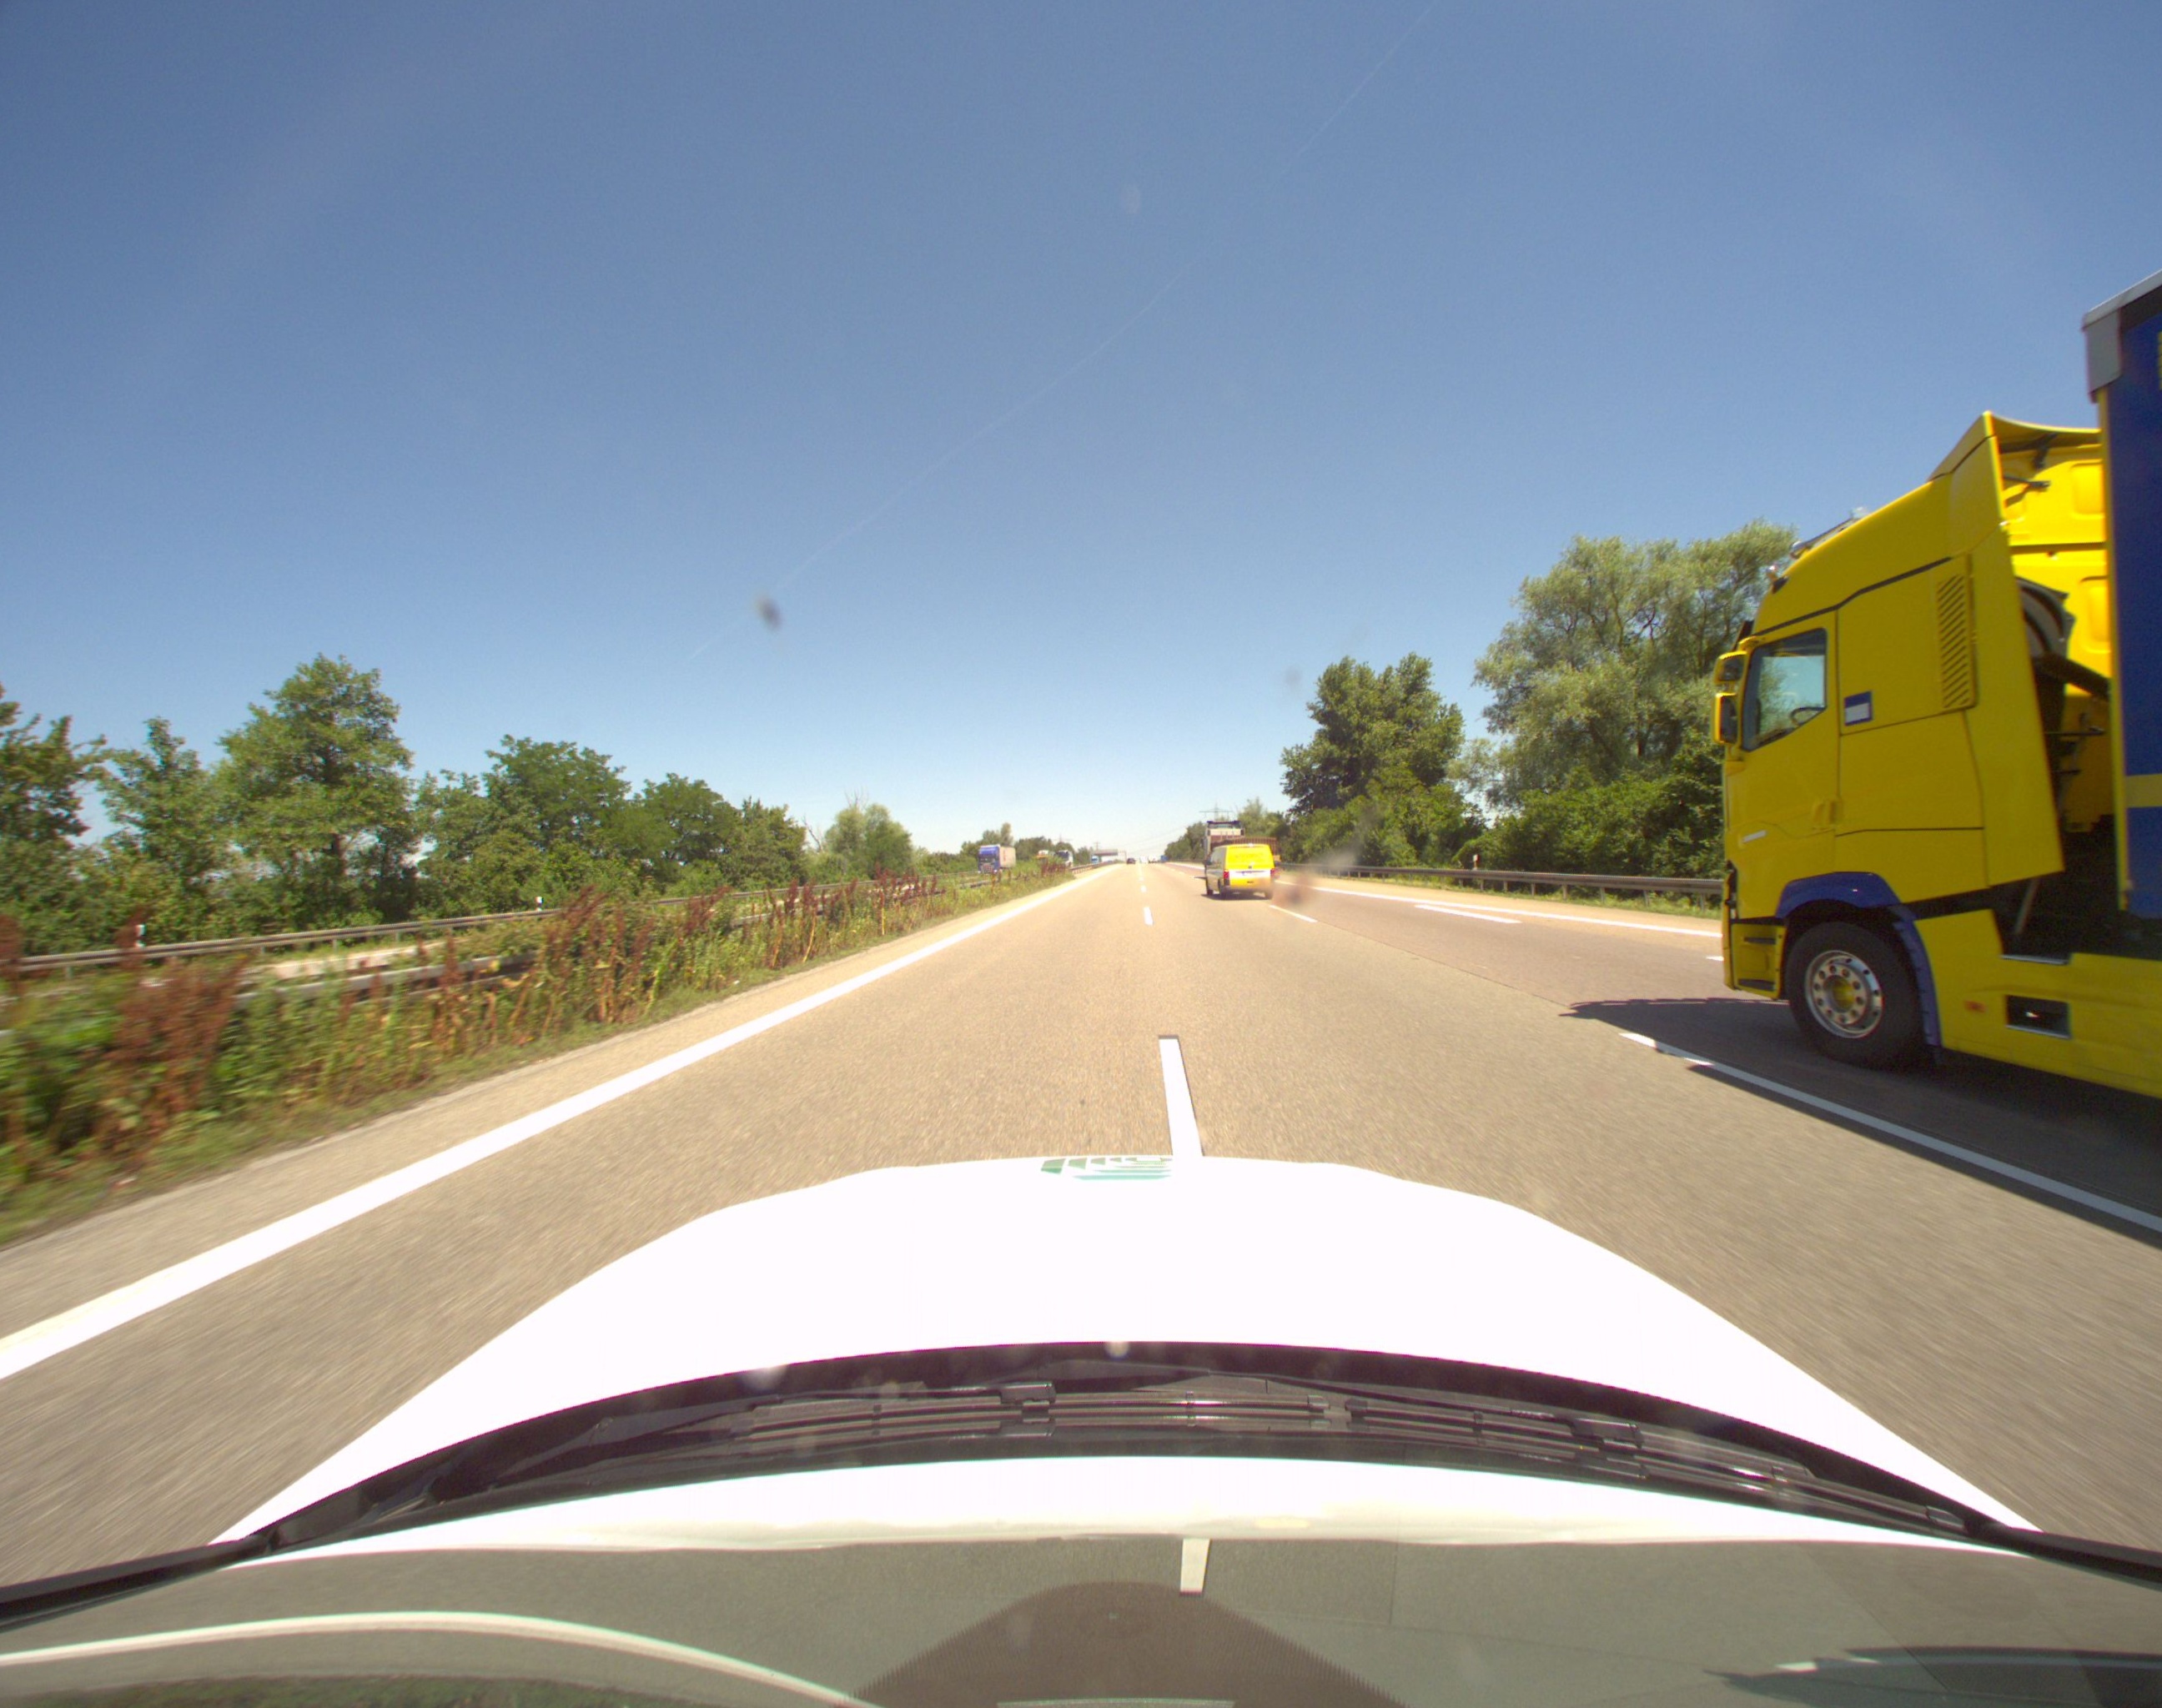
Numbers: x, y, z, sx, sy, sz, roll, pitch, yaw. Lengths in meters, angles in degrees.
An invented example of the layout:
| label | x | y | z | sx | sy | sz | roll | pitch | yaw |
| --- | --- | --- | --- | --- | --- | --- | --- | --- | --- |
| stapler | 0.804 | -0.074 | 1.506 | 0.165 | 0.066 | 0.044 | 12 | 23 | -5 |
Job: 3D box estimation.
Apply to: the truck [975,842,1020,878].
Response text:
| label | x | y | z | sx | sy | sz | roll | pitch | yaw |
| --- | --- | --- | --- | --- | --- | --- | --- | --- | --- |
| truck | -11.238 | 0.804 | 112.071 | 2.942 | 4.342 | 17.486 | -4 | -1 | 4 |

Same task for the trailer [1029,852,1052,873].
| label | x | y | z | sx | sy | sz | roll | pitch | yaw |
| --- | --- | --- | --- | --- | --- | --- | --- | --- | --- |
| trailer | -8.002 | 1.634 | 161.060 | 2.909 | 3.967 | 11.662 | -4 | -1 | 4 |

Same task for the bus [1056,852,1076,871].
| label | x | y | z | sx | sy | sz | roll | pitch | yaw |
| --- | --- | --- | --- | --- | --- | --- | --- | --- | --- |
| bus | -3.028 | 1.446 | 165.849 | 2.682 | 3.583 | 12.806 | -4 | 0 | 4 |

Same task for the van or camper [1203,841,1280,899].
| label | x | y | z | sx | sy | sz | roll | pitch | yaw |
| --- | --- | --- | --- | --- | --- | --- | --- | --- | --- |
| van or camper | 5.825 | 0.553 | 30.172 | 1.986 | 1.909 | 4.973 | -1 | 0 | 1 |

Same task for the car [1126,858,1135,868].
| label | x | y | z | sx | sy | sz | roll | pitch | yaw |
| --- | --- | --- | --- | --- | --- | --- | --- | --- | --- |
| car | 10.700 | 1.956 | 175.196 | 1.783 | 2.014 | 3.892 | -1 | -1 | 4 |

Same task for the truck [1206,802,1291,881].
| label | x | y | z | sx | sy | sz | roll | pitch | yaw |
| --- | --- | --- | --- | --- | --- | --- | --- | --- | --- |
| truck | 9.750 | -0.507 | 49.661 | 2.956 | 3.957 | 16.632 | -1 | -1 | 4 |
